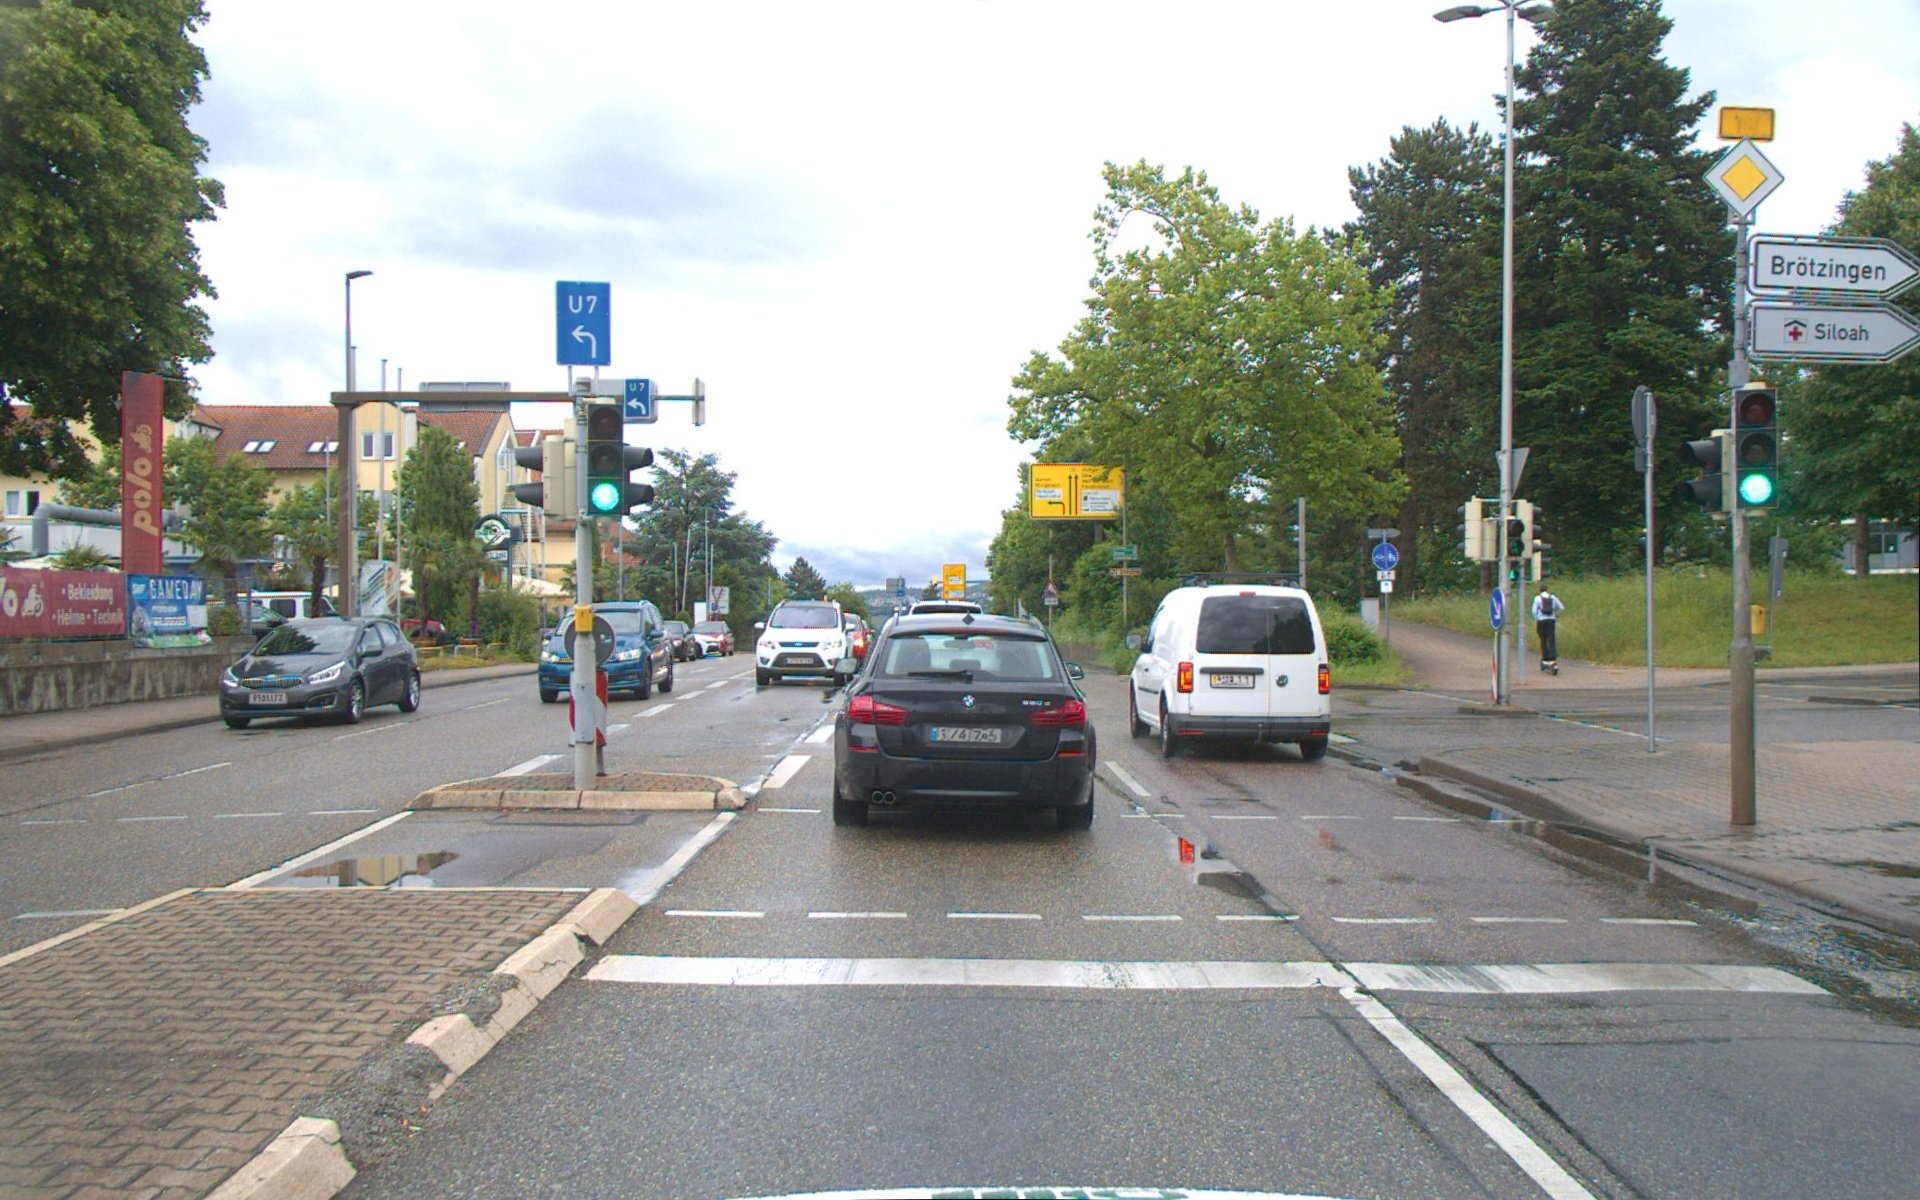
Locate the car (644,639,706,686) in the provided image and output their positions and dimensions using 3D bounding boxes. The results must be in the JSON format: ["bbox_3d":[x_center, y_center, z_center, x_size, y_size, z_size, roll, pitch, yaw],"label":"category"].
[{"bbox_3d":[-10.046,2.178,58.587,1.570,1.424,4.403,-2,0,-3],"label":"car"}]

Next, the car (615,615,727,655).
[{"bbox_3d":[-11.198,1.362,64.230,3.945,1.503,1.644,-1,-1,9],"label":"car"}]

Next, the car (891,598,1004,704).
[{"bbox_3d":[-0.229,0.833,29.141,1.830,1.703,4.000,1,0,-1],"label":"car"}]

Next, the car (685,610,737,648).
[{"bbox_3d":[-10.774,1.226,71.840,1.734,1.596,3.999,0,0,-1],"label":"car"}]

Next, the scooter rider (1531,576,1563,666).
[{"bbox_3d":[13.188,0.461,37.172,0.490,2.000,0.547,0,0,-1],"label":"scooter rider"}]

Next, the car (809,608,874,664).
[{"bbox_3d":[-3.214,0.989,45.324,1.599,1.459,4.142,0,-1,-2],"label":"car"}]

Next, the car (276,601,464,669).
[{"bbox_3d":[-17.311,1.023,48.590,4.942,1.732,1.980,-2,-3,-29],"label":"car"}]

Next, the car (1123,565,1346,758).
[{"bbox_3d":[2.933,0.603,18.427,1.729,1.910,3.804,1,0,-2],"label":"car"}]

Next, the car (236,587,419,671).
[{"bbox_3d":[-17.006,0.743,44.515,4.339,2.049,1.980,-2,0,-30],"label":"car"}]

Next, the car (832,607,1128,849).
[{"bbox_3d":[0.112,0.821,12.481,1.860,1.467,4.000,1,0,-1],"label":"car"}]

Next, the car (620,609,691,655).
[{"bbox_3d":[-9.726,1.003,53.055,1.590,1.355,3.945,-1,0,-2],"label":"car"}]

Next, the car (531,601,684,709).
[{"bbox_3d":[-6.005,0.885,28.665,1.802,1.678,4.296,-2,0,-2],"label":"car"}]

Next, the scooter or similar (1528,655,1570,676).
[{"bbox_3d":[13.203,1.463,37.109,0.477,0.410,1.255,0,0,-1],"label":"scooter or similar"}]

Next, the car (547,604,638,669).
[{"bbox_3d":[-10.056,0.961,45.463,1.642,1.646,3.999,-1,0,-1],"label":"car"}]

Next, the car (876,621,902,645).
[{"bbox_3d":[-5.493,2.573,128.749,1.830,1.703,4.000,1,0,-1],"label":"car"}]

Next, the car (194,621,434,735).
[{"bbox_3d":[-9.197,1.054,23.918,1.878,1.403,4.124,-2,0,-1],"label":"car"}]

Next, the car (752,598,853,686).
[{"bbox_3d":[-3.173,0.808,34.035,1.802,1.678,4.296,0,0,-2],"label":"car"}]
